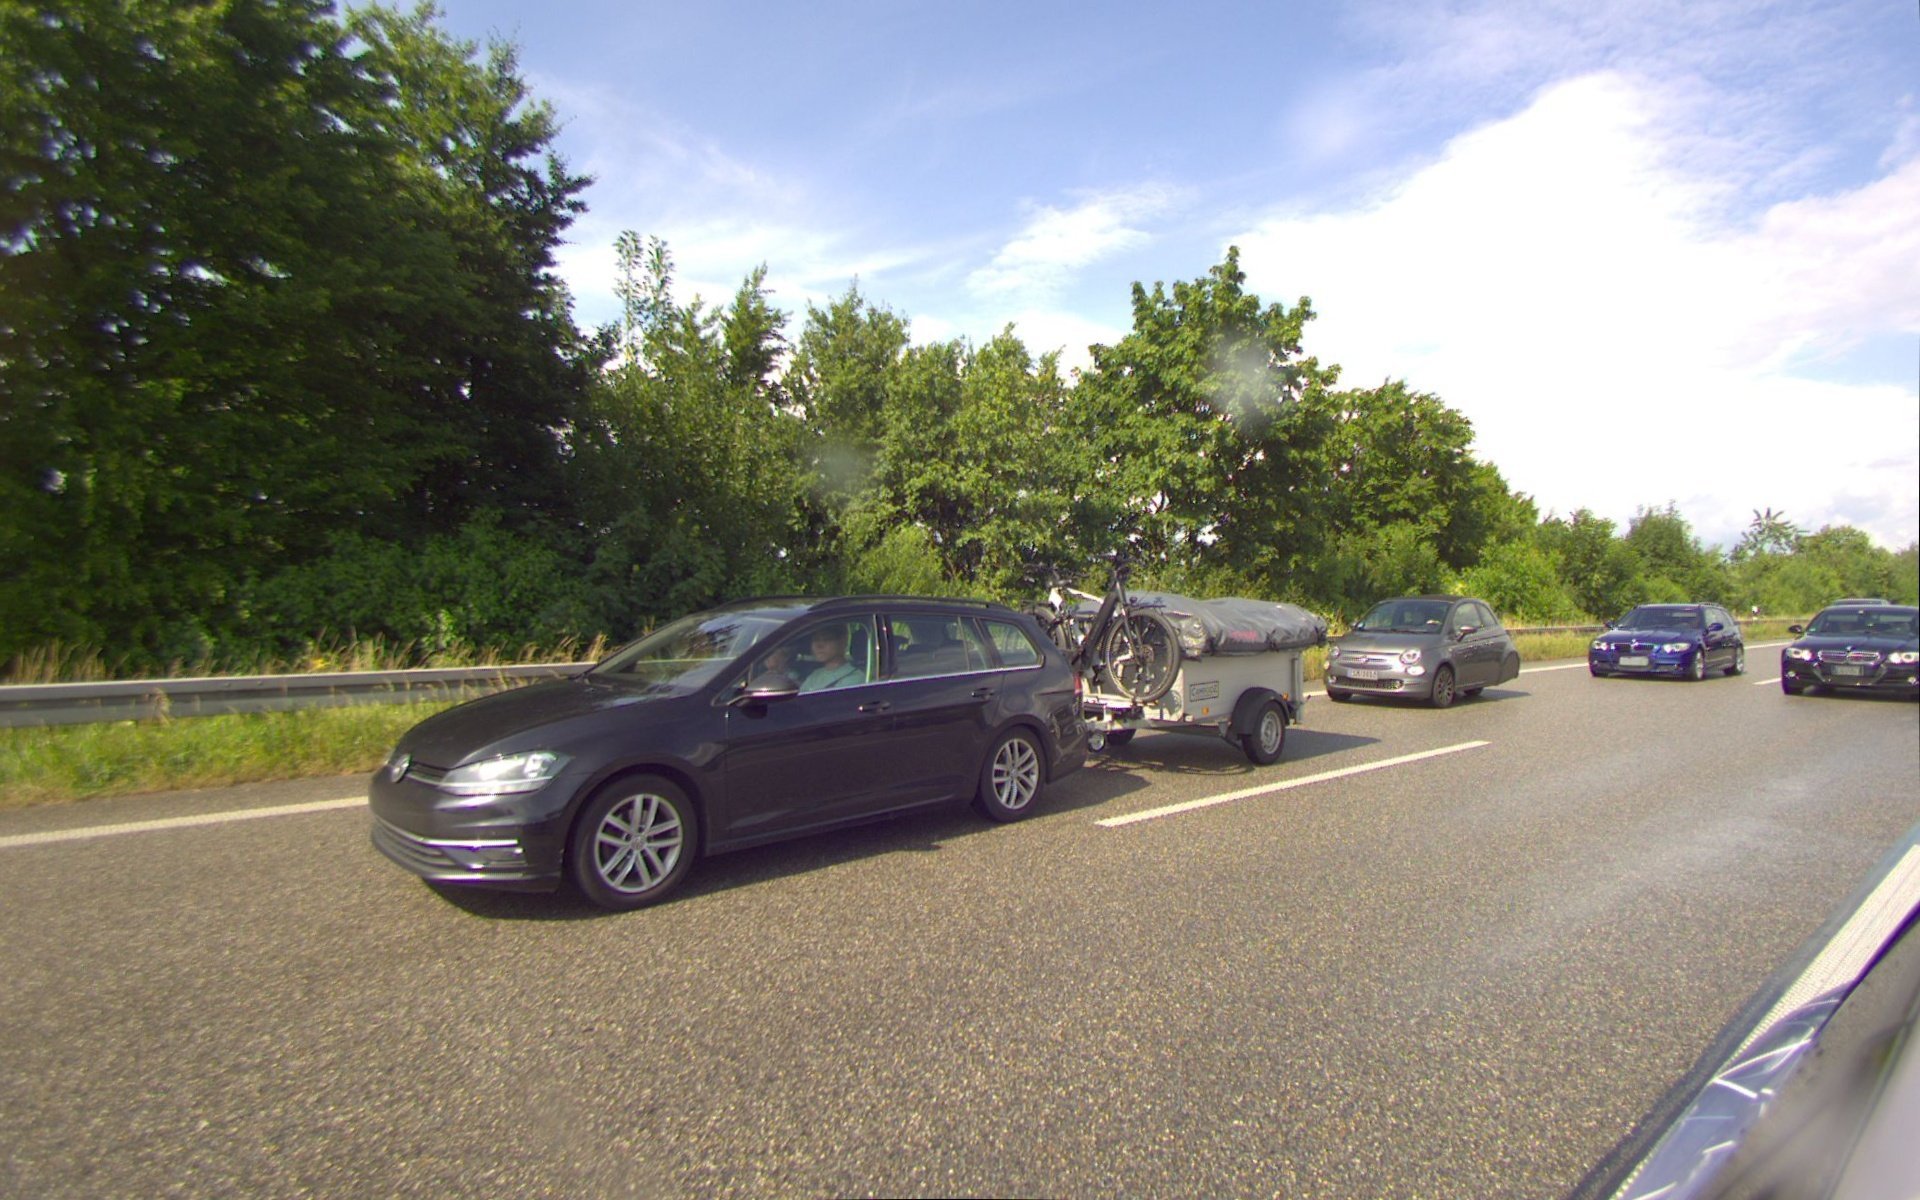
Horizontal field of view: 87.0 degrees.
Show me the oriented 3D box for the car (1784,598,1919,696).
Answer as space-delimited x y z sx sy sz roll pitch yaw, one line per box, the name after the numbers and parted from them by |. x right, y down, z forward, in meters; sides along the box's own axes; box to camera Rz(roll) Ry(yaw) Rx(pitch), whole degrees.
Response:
14.585 0.676 16.019 3.815 1.371 1.721 1 0 -40 | car

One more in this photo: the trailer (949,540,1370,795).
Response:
1.927 0.468 9.052 3.902 1.768 1.807 0 0 -44 | trailer

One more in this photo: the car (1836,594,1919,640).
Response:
32.655 0.547 35.808 4.176 1.509 1.997 0 1 -41 | car

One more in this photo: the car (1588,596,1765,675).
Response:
14.130 0.622 19.867 4.498 1.368 1.770 0 1 -40 | car

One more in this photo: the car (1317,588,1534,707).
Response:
6.772 0.589 14.614 3.421 1.507 1.614 0 1 -41 | car

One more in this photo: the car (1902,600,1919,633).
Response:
48.670 0.801 50.654 3.931 1.594 1.866 0 1 -41 | car

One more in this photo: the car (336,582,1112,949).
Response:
-1.096 0.637 6.149 4.332 1.449 1.744 0 1 -44 | car
